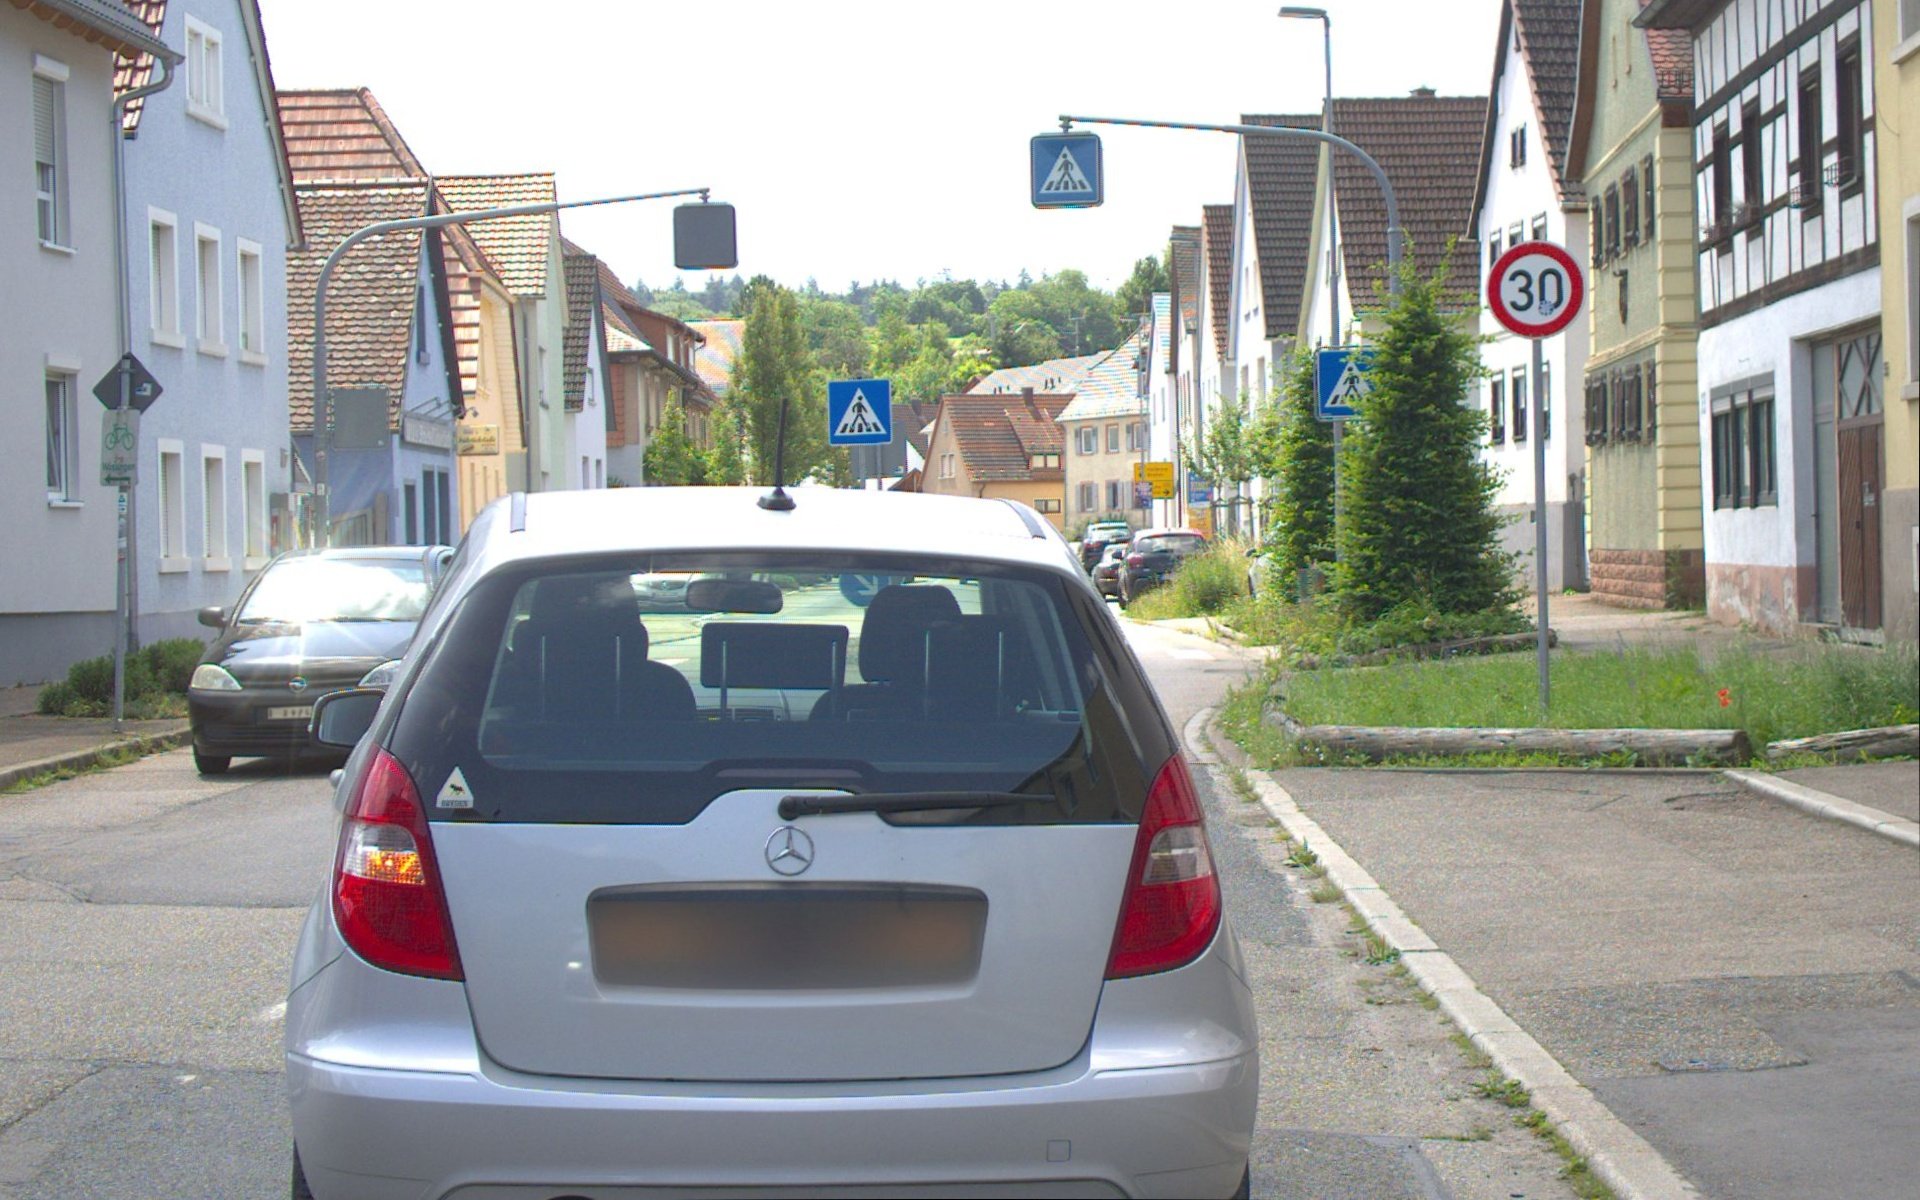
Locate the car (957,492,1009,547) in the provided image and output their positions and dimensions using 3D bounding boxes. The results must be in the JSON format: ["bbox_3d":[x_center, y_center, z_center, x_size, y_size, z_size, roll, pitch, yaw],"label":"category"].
[{"bbox_3d":[0.892,-3.155,134.920,1.993,2.007,4.000,0,-1,0],"label":"car"}]

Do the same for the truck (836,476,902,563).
[{"bbox_3d":[-2.876,-2.534,109.684,1.993,2.528,6.739,0,-1,-1],"label":"truck"}]

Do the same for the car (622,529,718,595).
[{"bbox_3d":[-6.164,-0.790,73.051,1.993,1.317,3.709,0,-1,-5],"label":"car"}]

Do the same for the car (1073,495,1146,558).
[{"bbox_3d":[4.582,-2.253,105.766,1.993,1.810,4.000,0,-1,-1],"label":"car"}]

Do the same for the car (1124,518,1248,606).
[{"bbox_3d":[4.051,-0.663,62.293,1.993,1.503,4.000,0,-1,0],"label":"car"}]

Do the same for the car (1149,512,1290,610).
[{"bbox_3d":[4.156,-0.600,55.622,1.993,1.503,4.000,0,-1,0],"label":"car"}]

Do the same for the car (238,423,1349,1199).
[{"bbox_3d":[-0.483,0.526,7.519,1.810,1.638,3.730,1,1,-7],"label":"car"}]

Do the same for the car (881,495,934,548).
[{"bbox_3d":[-2.135,-3.216,141.333,1.993,2.007,4.000,0,-1,2],"label":"car"}]

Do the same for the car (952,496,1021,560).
[{"bbox_3d":[0.784,-2.173,104.825,1.993,1.810,4.000,0,-1,-1],"label":"car"}]

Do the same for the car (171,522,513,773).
[{"bbox_3d":[-4.048,0.309,23.047,1.500,1.535,3.856,0,-1,1],"label":"car"}]

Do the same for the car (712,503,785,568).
[{"bbox_3d":[-5.620,-1.703,91.683,1.667,1.590,4.000,0,-1,0],"label":"car"}]
